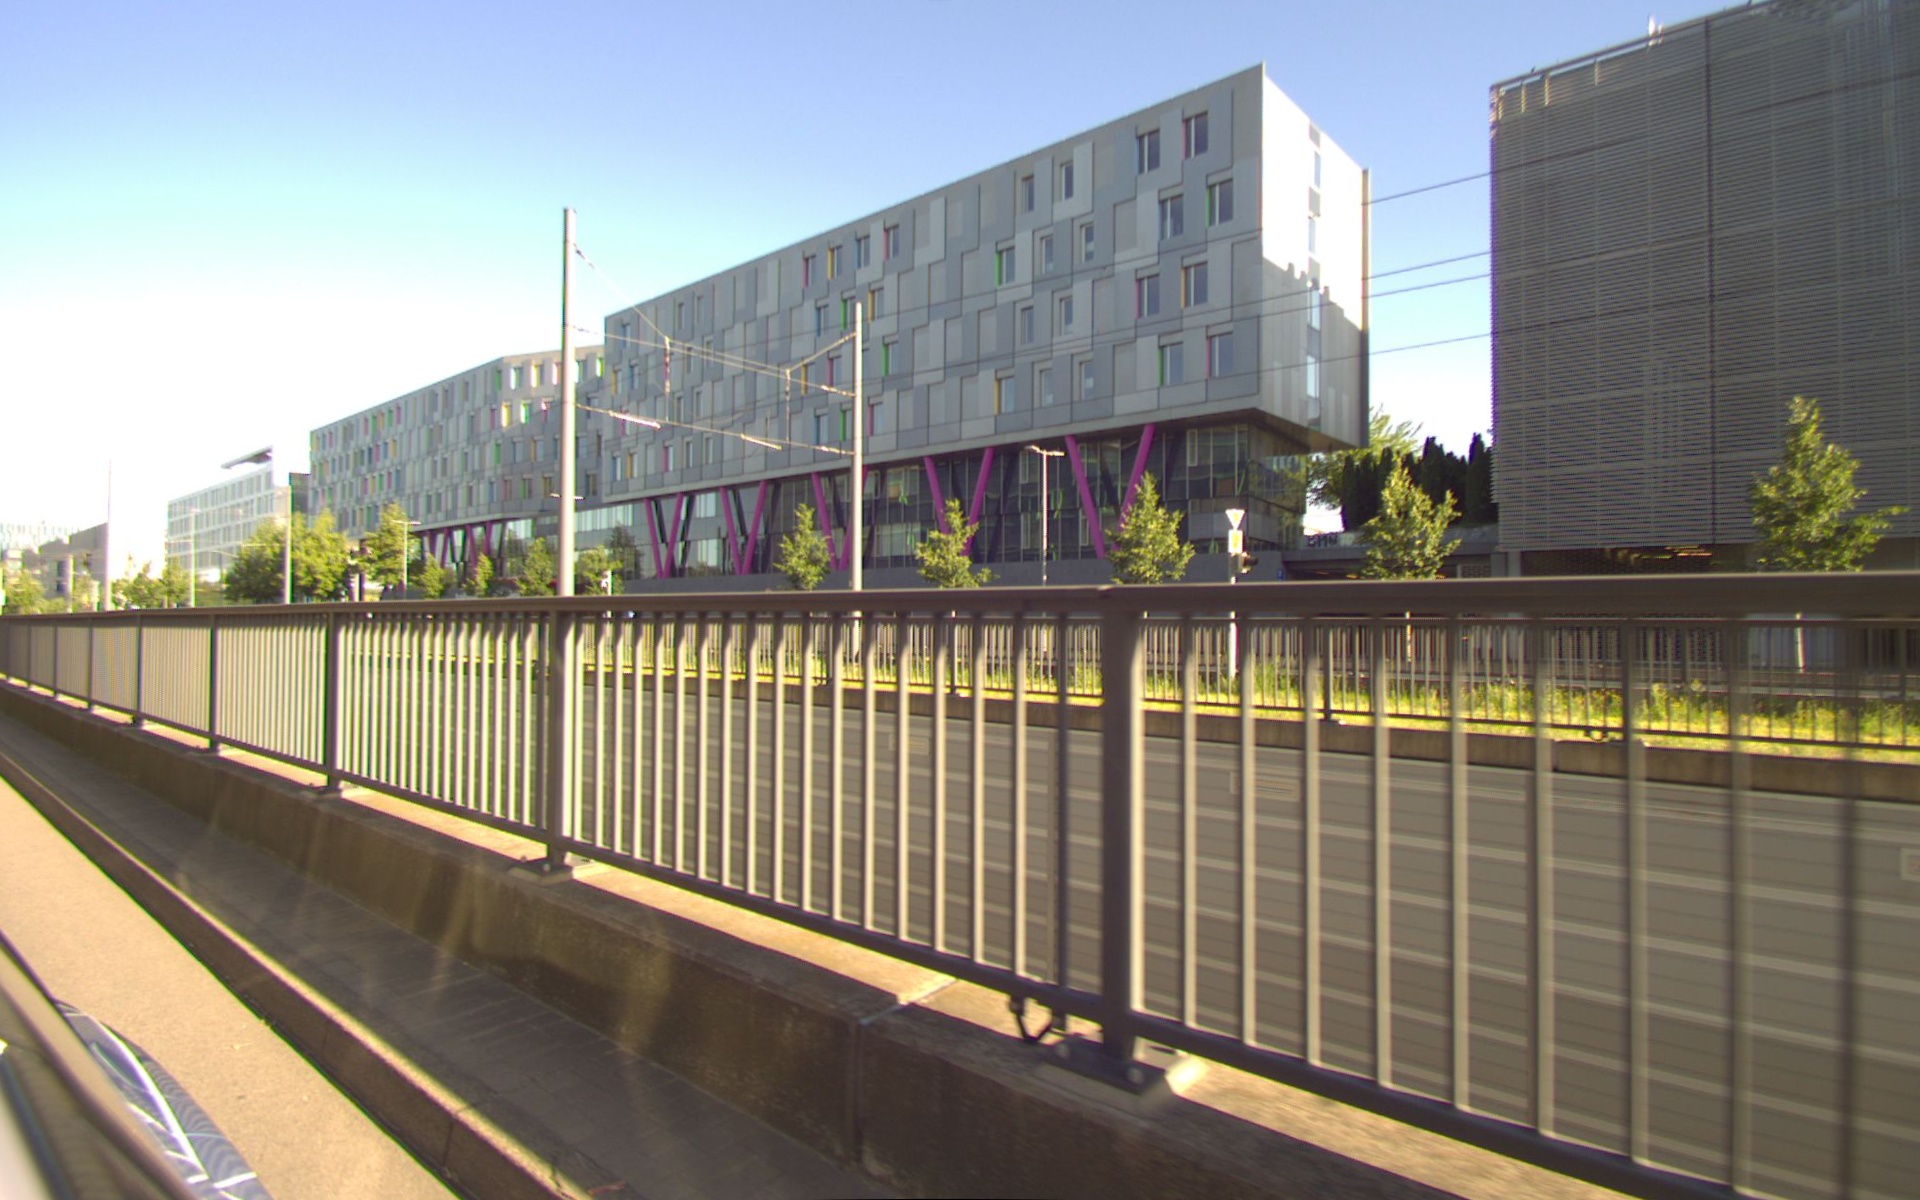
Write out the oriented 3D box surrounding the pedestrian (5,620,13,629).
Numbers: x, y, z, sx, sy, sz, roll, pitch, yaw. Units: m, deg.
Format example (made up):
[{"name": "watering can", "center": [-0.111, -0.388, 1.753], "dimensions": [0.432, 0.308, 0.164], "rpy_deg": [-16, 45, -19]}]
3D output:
[{"name": "pedestrian", "center": [-158.883, 4.162, 169.076], "dimensions": [1.053, 1.477, 0.845], "rpy_deg": [0, -1, -43]}]
